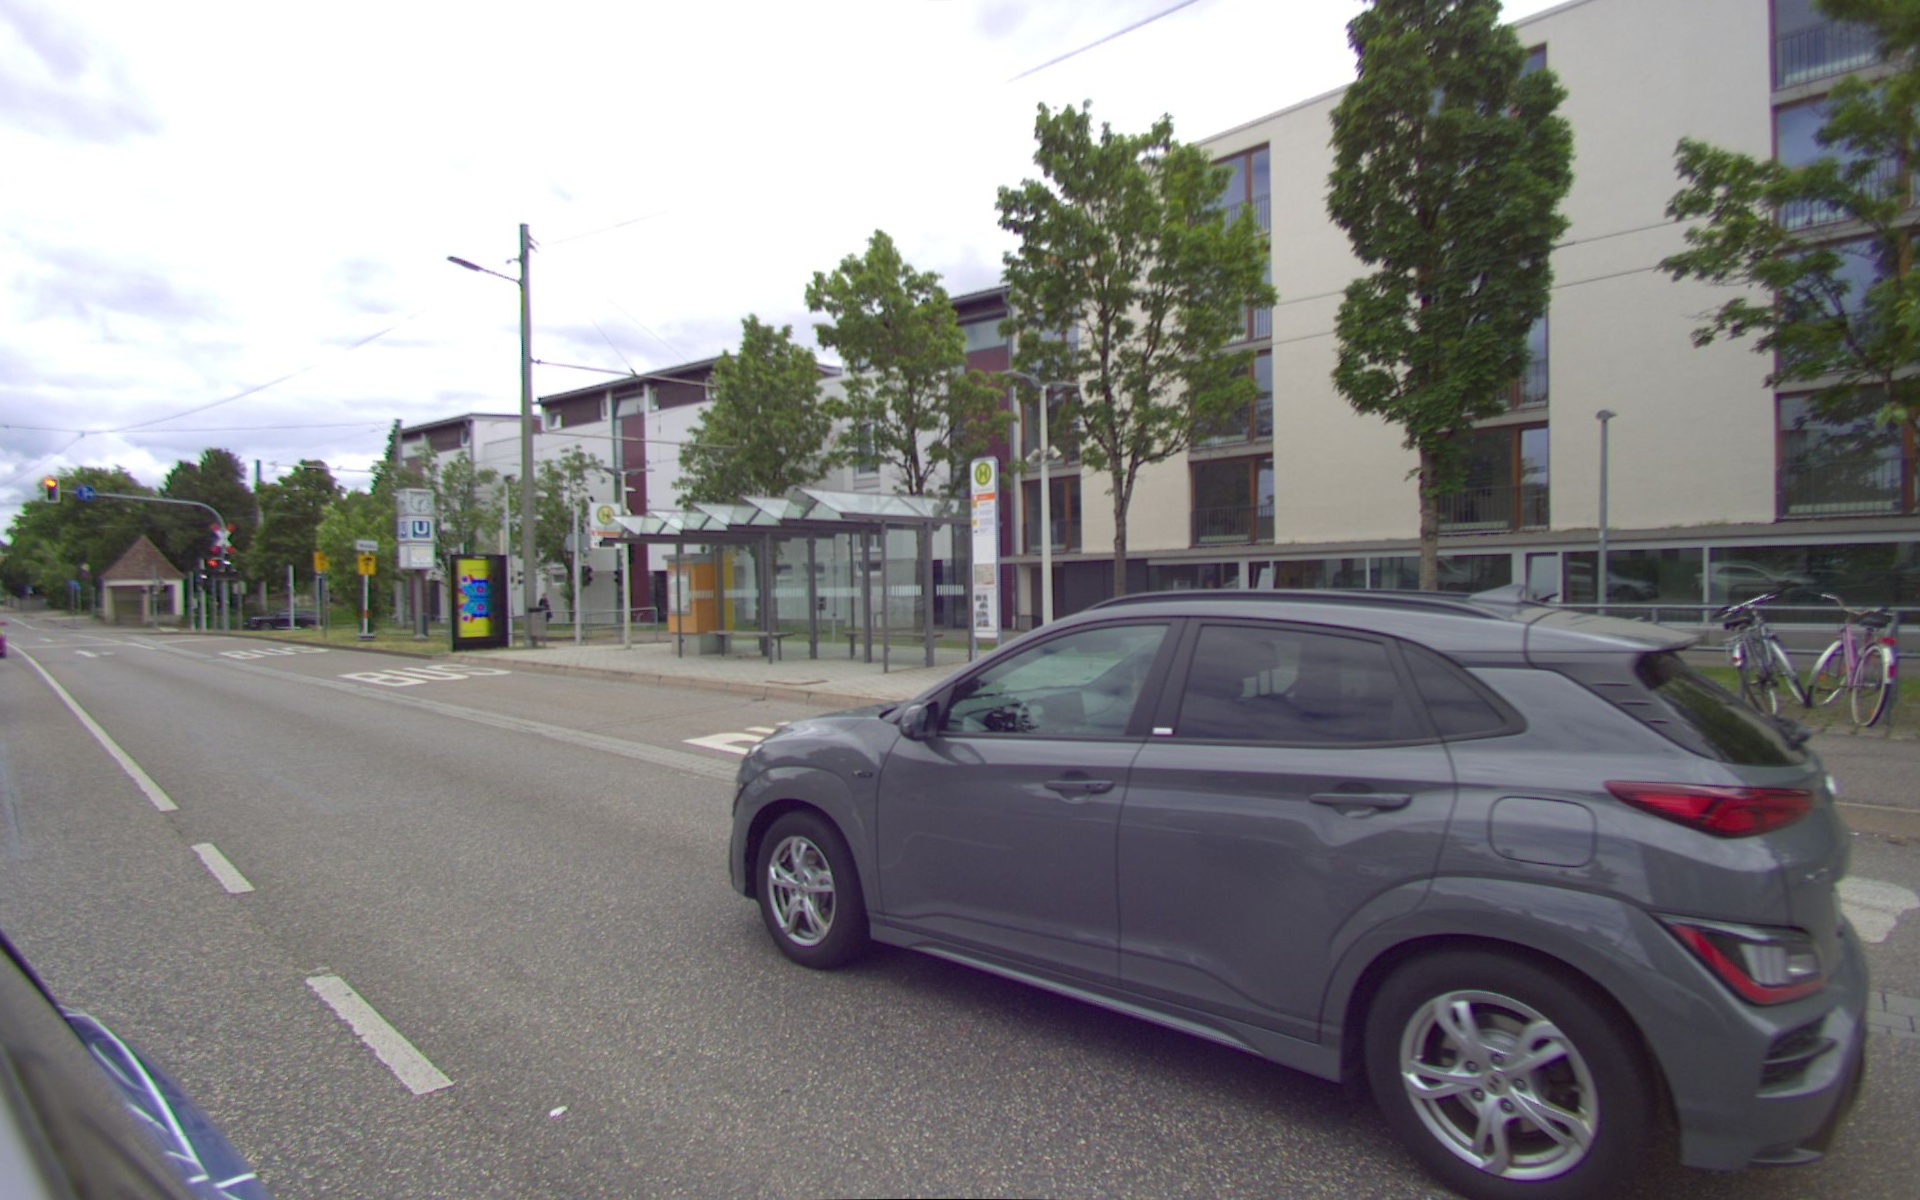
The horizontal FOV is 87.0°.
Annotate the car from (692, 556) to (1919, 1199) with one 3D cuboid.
[{"bbox_3d":[0.924,0.694,3.797,3.996,1.490,1.750,-1,-1,40],"label":"car"}]

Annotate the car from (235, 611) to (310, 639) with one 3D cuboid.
[{"bbox_3d":[-47.870,1.719,70.495,1.928,1.718,3.945,-1,1,42],"label":"car"}]

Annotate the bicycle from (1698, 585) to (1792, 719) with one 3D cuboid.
[{"bbox_3d":[7.164,0.428,9.206,1.728,1.054,0.408,-4,2,-43],"label":"bicycle"}]

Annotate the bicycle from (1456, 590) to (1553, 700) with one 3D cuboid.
[{"bbox_3d":[5.861,0.448,10.860,1.667,1.032,0.396,-4,2,-43],"label":"bicycle"}]

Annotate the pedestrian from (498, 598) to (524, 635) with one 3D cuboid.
[{"bbox_3d":[-20.395,0.745,45.958,0.779,1.607,0.772,-1,0,36],"label":"pedestrian"}]

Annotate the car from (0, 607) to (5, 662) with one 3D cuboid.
[{"bbox_3d":[-28.798,0.992,28.917,3.998,1.546,1.826,-1,0,41],"label":"car"}]

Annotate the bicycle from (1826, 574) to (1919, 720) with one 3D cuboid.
[{"bbox_3d":[7.842,0.354,8.655,0.407,1.097,1.691,-1,2,32],"label":"bicycle"}]
